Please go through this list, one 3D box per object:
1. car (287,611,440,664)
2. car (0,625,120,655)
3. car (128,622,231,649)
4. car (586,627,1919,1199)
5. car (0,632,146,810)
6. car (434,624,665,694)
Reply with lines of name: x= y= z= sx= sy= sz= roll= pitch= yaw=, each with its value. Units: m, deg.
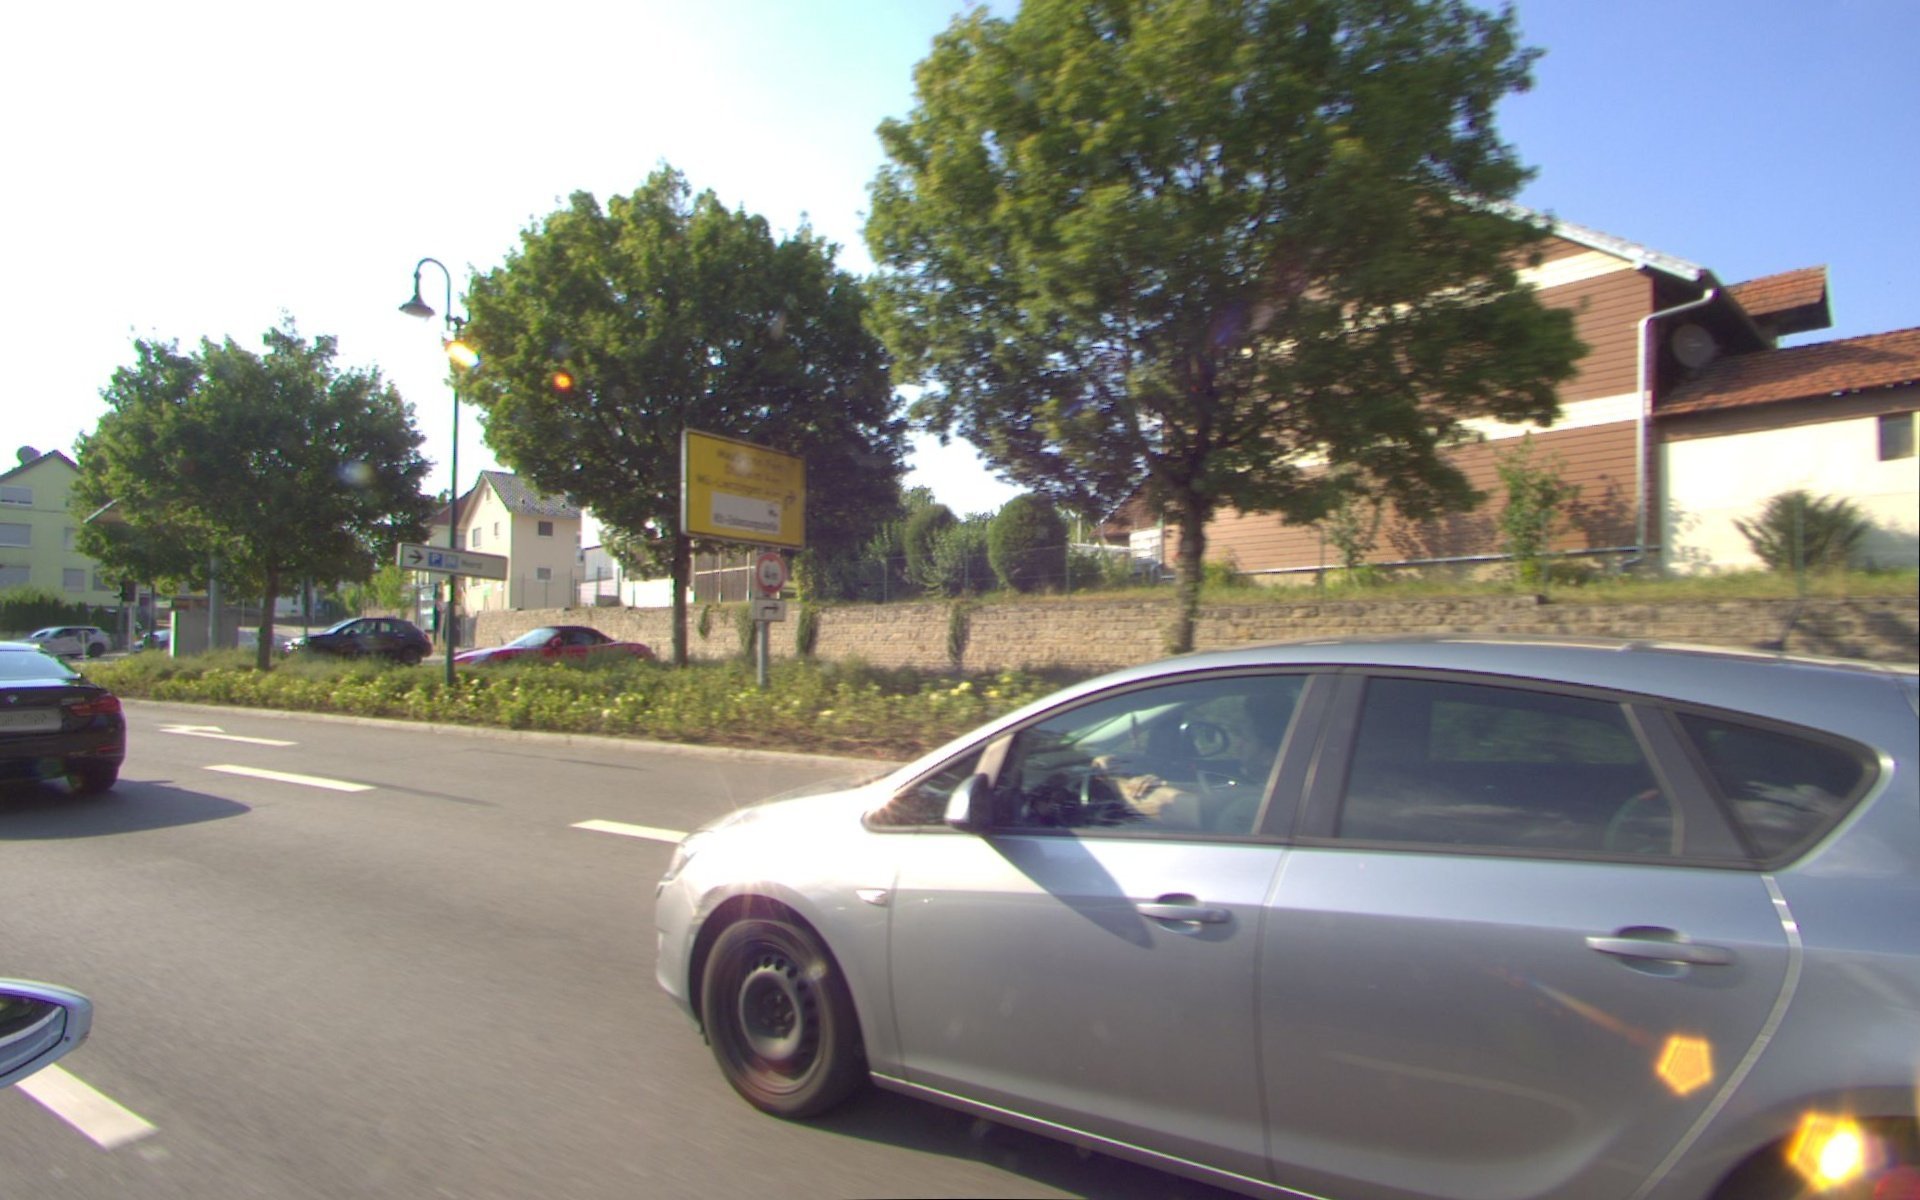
car: x=-19.417 y=1.211 z=32.706 sx=1.835 sy=1.628 sz=3.965 roll=-1 pitch=-2 yaw=44
car: x=-47.467 y=2.080 z=52.822 sx=1.833 sy=1.504 sz=4.656 roll=0 pitch=-2 yaw=15
car: x=-41.777 y=1.907 z=53.714 sx=1.620 sy=1.404 sz=4.185 roll=0 pitch=-2 yaw=17
car: x=0.900 y=0.818 z=3.038 sx=4.109 sy=1.460 sz=1.740 roll=-1 pitch=-2 yaw=33
car: x=-9.337 y=0.992 z=9.092 sx=4.286 sy=1.406 sz=1.812 roll=-1 pitch=-2 yaw=33
car: x=-8.259 y=1.147 z=20.364 sx=1.835 sy=1.288 sz=3.965 roll=-1 pitch=-2 yaw=44
